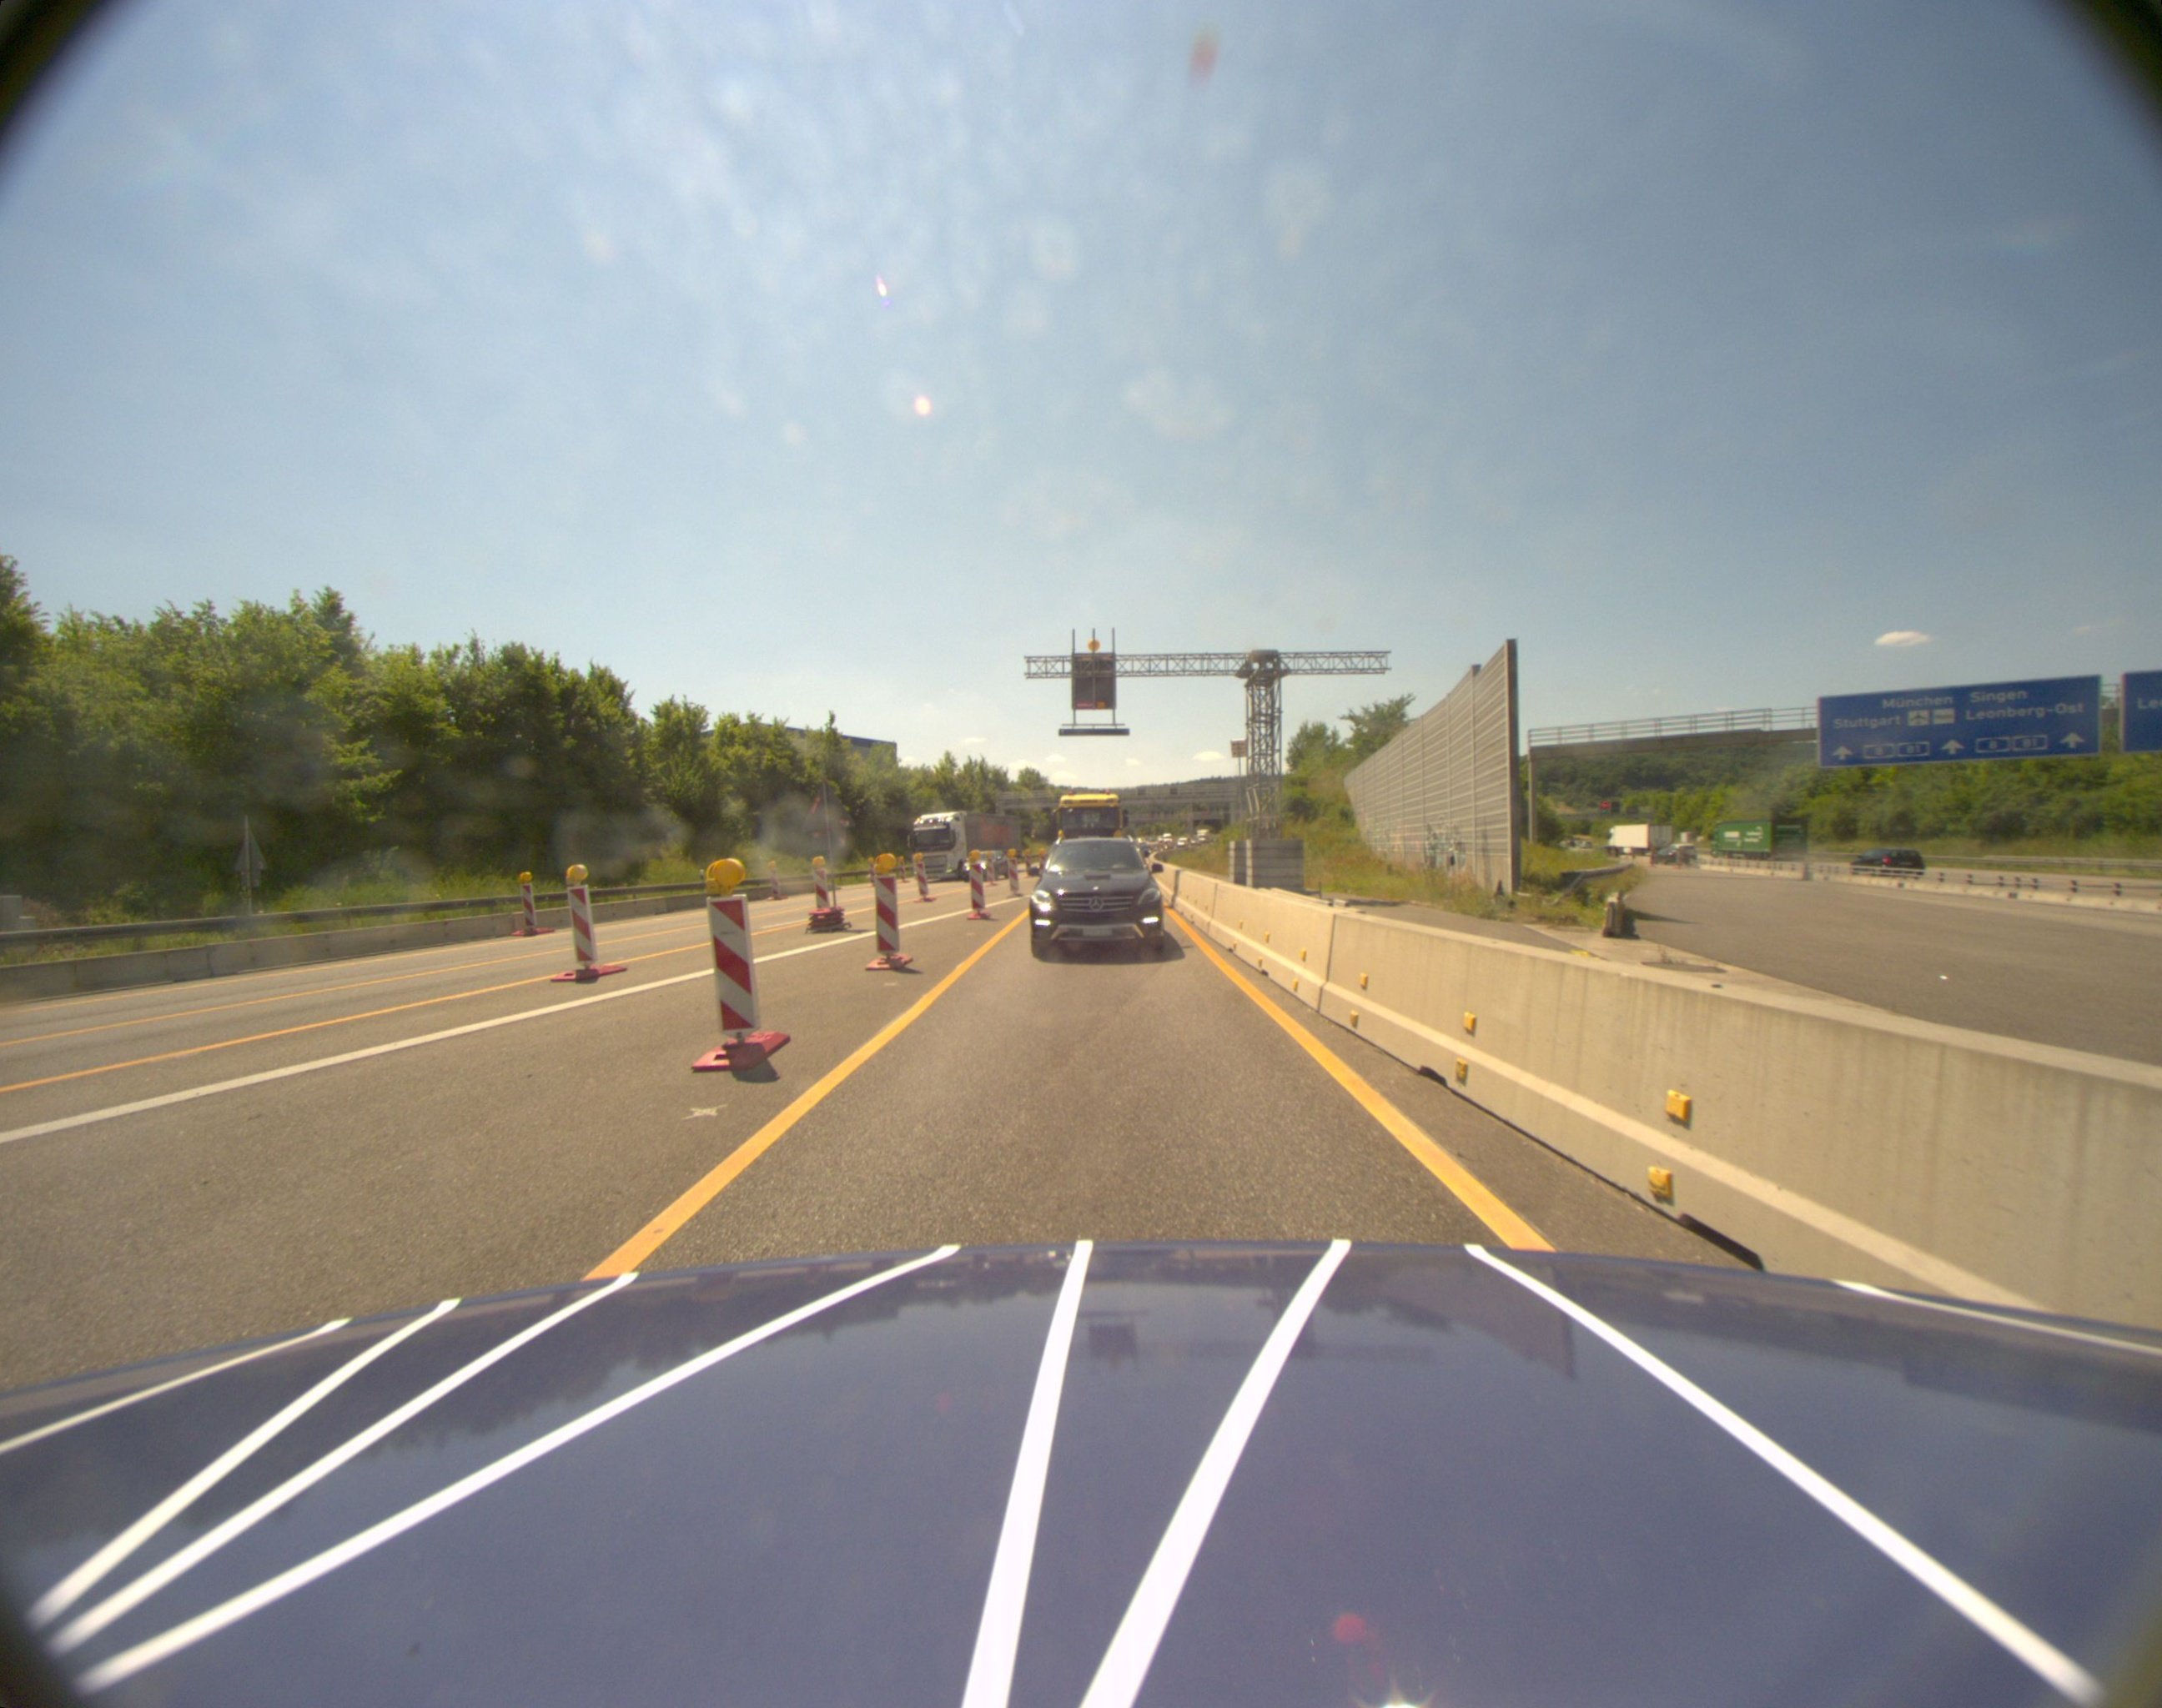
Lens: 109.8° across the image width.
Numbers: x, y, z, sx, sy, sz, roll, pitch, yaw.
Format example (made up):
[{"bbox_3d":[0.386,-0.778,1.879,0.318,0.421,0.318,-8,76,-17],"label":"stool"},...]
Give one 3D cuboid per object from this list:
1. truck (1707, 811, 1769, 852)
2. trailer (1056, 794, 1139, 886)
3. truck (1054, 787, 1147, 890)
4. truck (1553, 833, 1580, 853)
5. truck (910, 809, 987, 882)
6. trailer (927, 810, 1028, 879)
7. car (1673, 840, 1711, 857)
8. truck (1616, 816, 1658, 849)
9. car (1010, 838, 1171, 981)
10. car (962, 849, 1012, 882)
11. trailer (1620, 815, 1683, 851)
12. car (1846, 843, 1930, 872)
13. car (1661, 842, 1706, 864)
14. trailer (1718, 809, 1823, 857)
[{"bbox_3d":[71.127,-2.437,82.420,3.549,4.246,5.787,-1,2,24],"label":"truck"},{"bbox_3d":[0.627,-0.640,40.082,3.237,3.646,17.419,-3,0,0],"label":"trailer"},{"bbox_3d":[0.694,-0.589,31.414,3.230,3.640,7.082,-3,0,0],"label":"truck"},{"bbox_3d":[116.023,-2.686,181.747,3.549,4.246,13.927,-1,2,24],"label":"truck"},{"bbox_3d":[-7.724,-0.526,45.056,2.532,3.928,5.602,-3,1,10],"label":"truck"},{"bbox_3d":[-6.573,-0.682,51.685,2.545,3.930,13.876,-3,1,10],"label":"trailer"},{"bbox_3d":[59.887,-0.559,74.590,1.717,1.614,4.175,-1,1,21],"label":"car"},{"bbox_3d":[76.370,-2.978,104.535,3.549,4.246,5.787,-1,2,24],"label":"truck"},{"bbox_3d":[0.372,0.662,11.677,1.818,1.686,4.495,-3,1,8],"label":"car"},{"bbox_3d":[-5.042,0.574,41.285,1.709,1.544,4.032,-3,1,6],"label":"car"},{"bbox_3d":[73.588,-2.756,98.371,3.549,4.246,13.927,-1,2,24],"label":"trailer"},{"bbox_3d":[45.011,0.184,42.478,1.717,1.483,3.693,0,1,20],"label":"car"},{"bbox_3d":[51.451,-0.133,64.981,1.699,1.720,4.457,0,2,21],"label":"car"},{"bbox_3d":[68.060,-2.176,75.535,3.549,4.246,13.927,-1,2,24],"label":"trailer"}]
